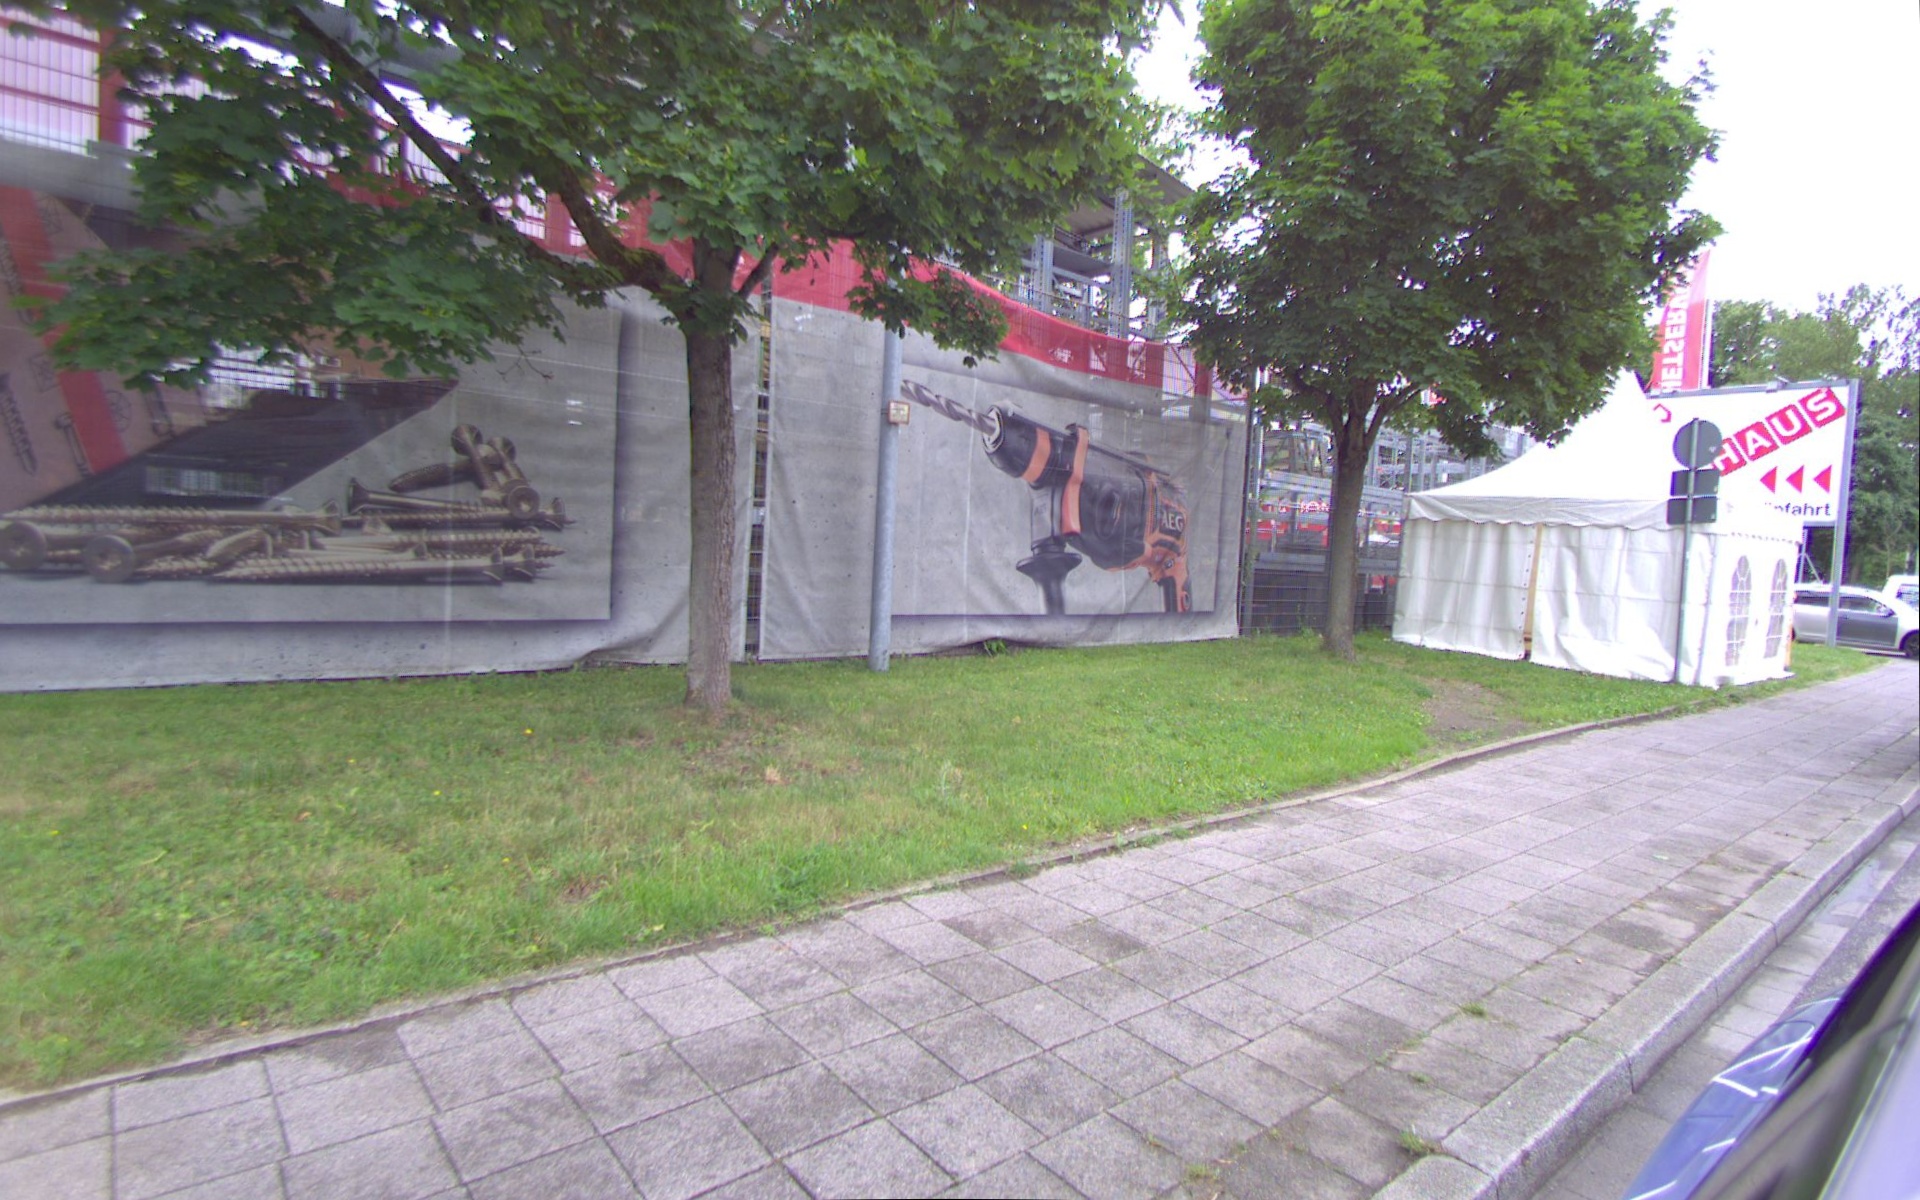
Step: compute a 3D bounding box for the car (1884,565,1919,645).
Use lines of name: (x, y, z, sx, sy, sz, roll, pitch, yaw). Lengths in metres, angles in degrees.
car: (24.098, 0.326, 22.917, 1.769, 1.828, 4.381, 0, 7, -41)

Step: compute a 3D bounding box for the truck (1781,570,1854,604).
truck: (69.359, -1.072, 81.891, 3.924, 2.425, 2.001, 3, 3, 0)

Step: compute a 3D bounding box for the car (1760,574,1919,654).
car: (20.426, 0.292, 22.515, 1.741, 1.603, 3.694, 1, 2, -32)
